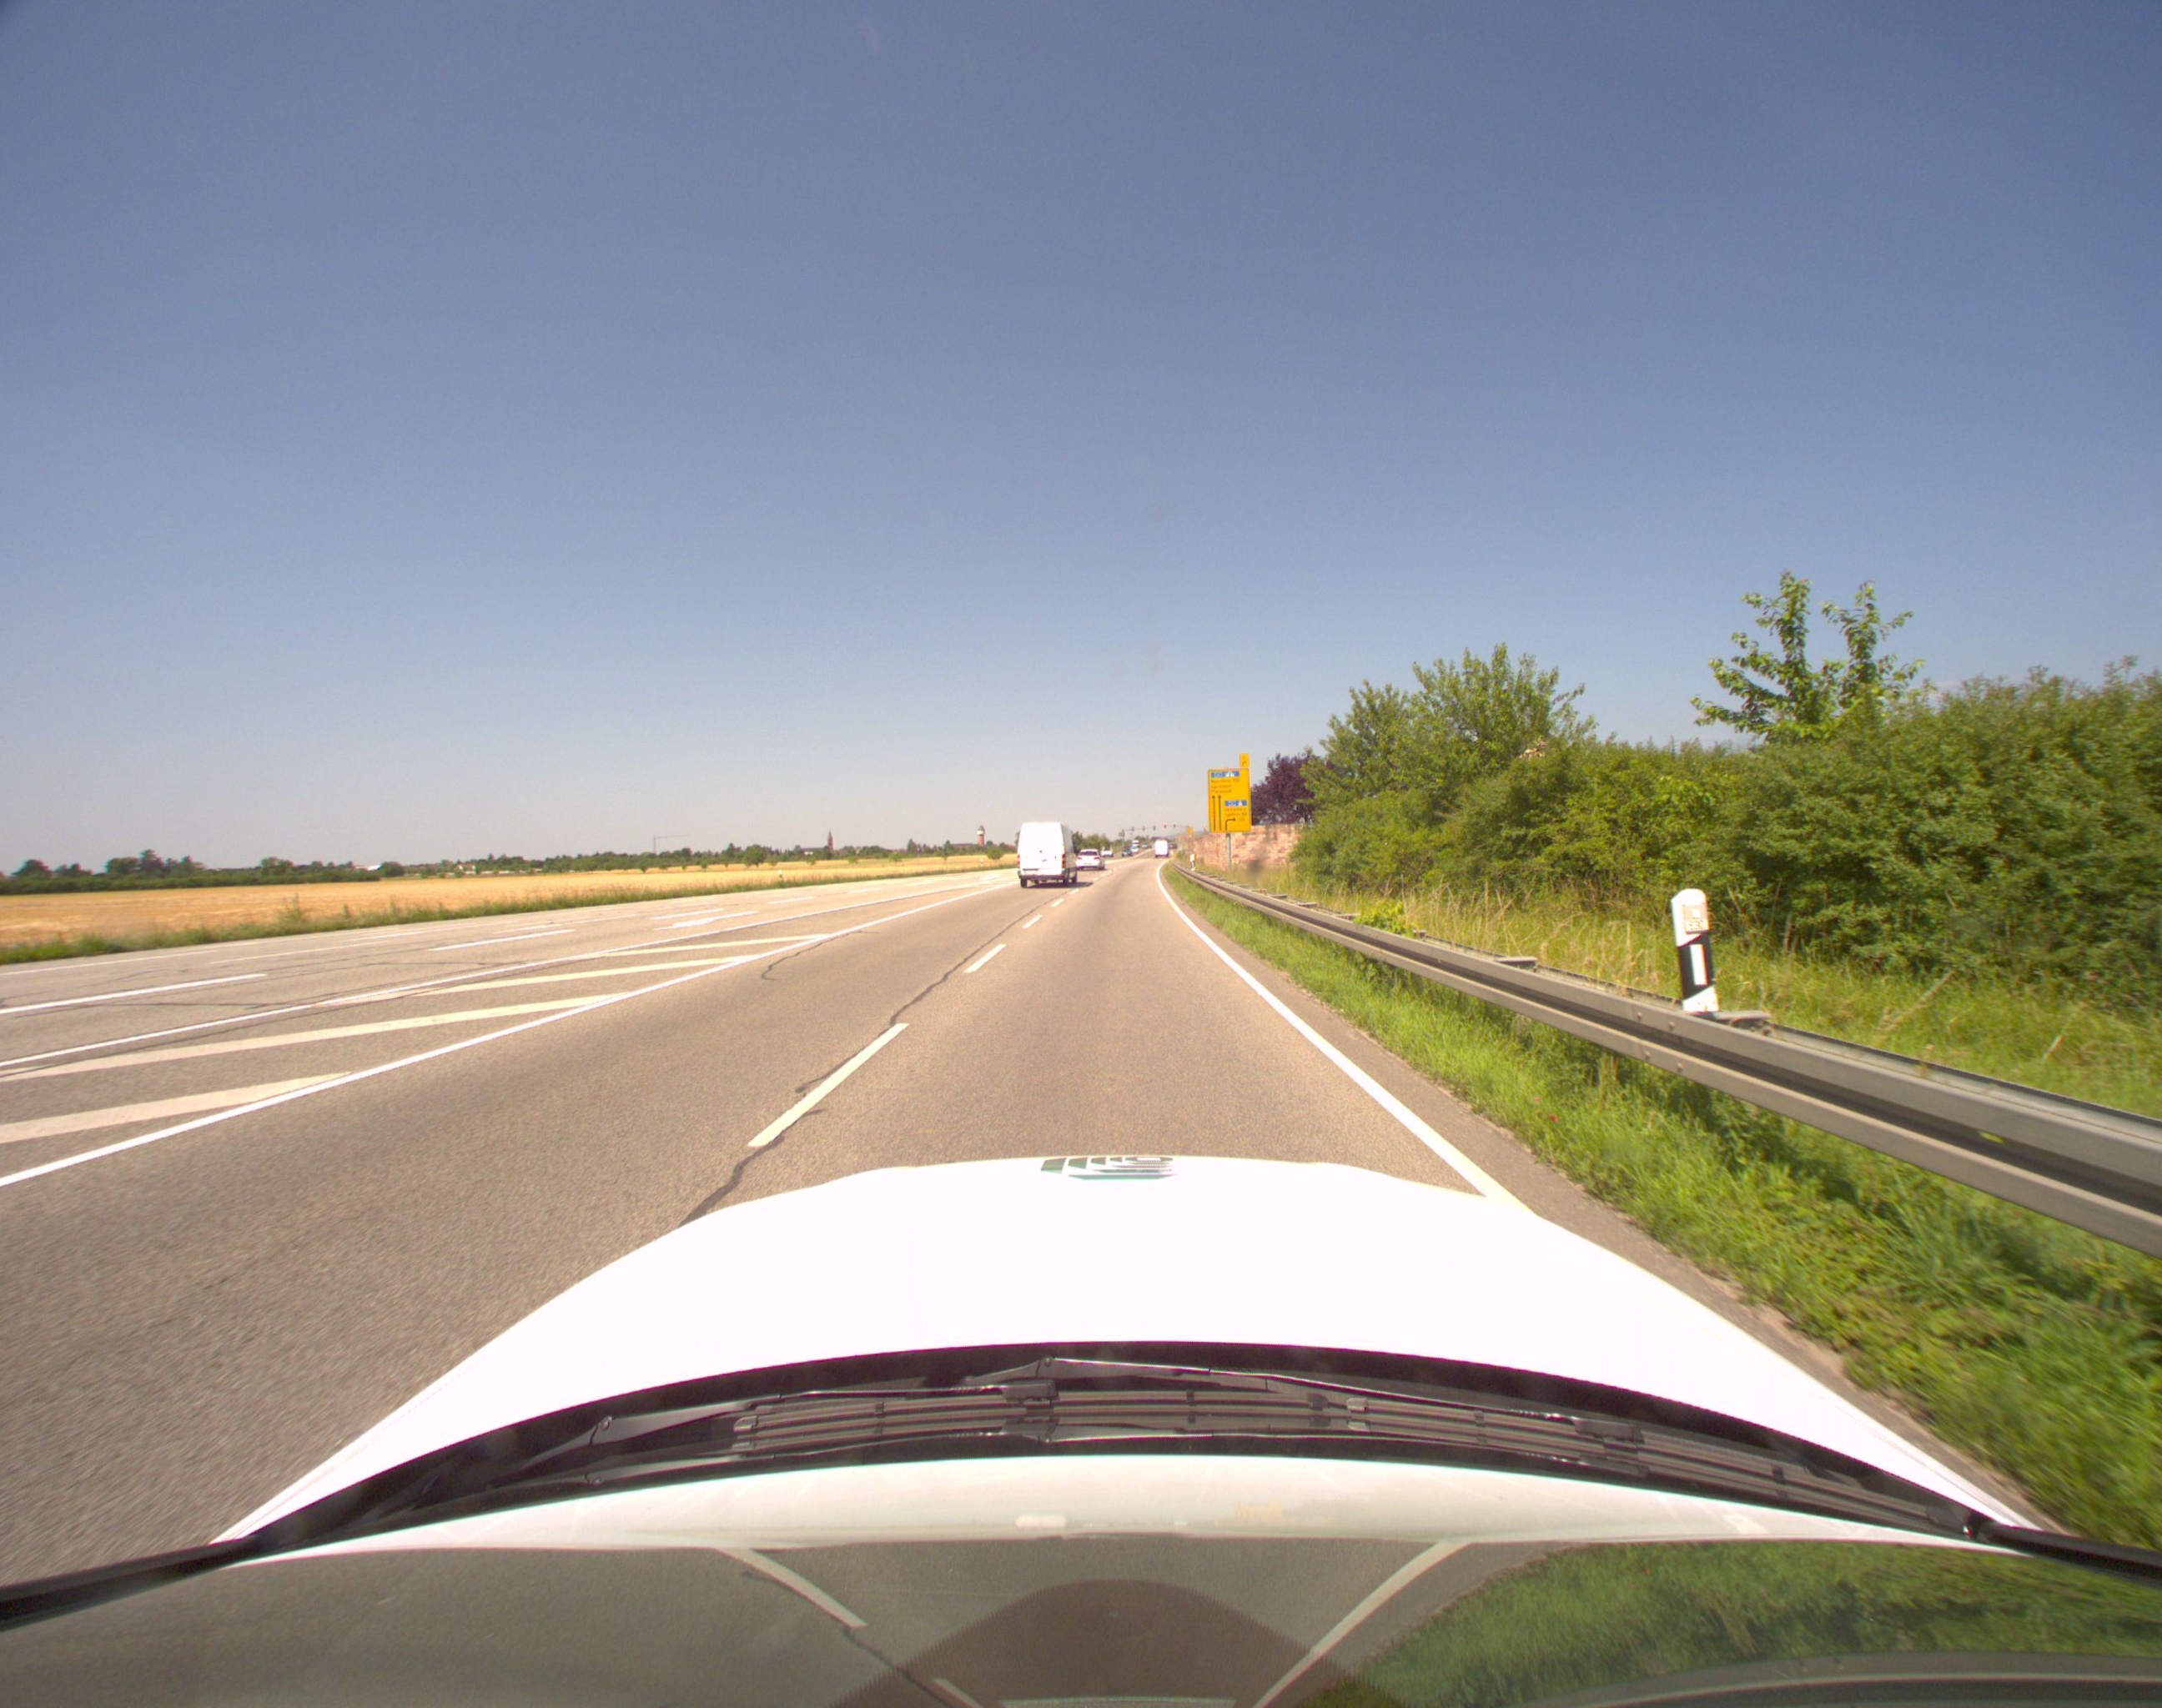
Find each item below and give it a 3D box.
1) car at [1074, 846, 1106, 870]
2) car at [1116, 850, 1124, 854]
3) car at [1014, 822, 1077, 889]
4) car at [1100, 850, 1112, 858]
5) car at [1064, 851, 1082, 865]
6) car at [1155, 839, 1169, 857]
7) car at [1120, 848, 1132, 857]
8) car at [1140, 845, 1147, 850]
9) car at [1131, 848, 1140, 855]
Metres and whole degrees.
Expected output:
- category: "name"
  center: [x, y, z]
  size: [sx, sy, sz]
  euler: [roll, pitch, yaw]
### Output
- category: "car"
  center: [0.672, 0.275, 57.492]
  size: [1.790, 1.508, 4.205]
  euler: [-2, 1, 7]
- category: "car"
  center: [10.215, -0.512, 212.061]
  size: [1.861, 1.255, 4.286]
  euler: [0, 0, 5]
- category: "car"
  center: [-1.412, 0.017, 34.845]
  size: [2.030, 2.620, 5.748]
  euler: [0, 0, 4]
- category: "car"
  center: [4.498, -0.002, 145.072]
  size: [1.740, 1.442, 4.090]
  euler: [-2, 0, 7]
- category: "car"
  center: [-1.034, 0.545, 104.592]
  size: [1.656, 1.676, 4.471]
  euler: [-2, 0, 7]
- category: "car"
  center: [12.323, -0.857, 123.188]
  size: [1.983, 2.695, 4.979]
  euler: [0, -1, 7]
- category: "car"
  center: [7.911, -0.295, 142.009]
  size: [1.740, 1.442, 4.090]
  euler: [-2, 0, 7]
- category: "car"
  center: [18.908, -1.859, 245.686]
  size: [1.846, 1.423, 4.010]
  euler: [-3, 0, 8]
- category: "car"
  center: [11.952, -0.520, 178.190]
  size: [1.740, 1.442, 4.089]
  euler: [-1, 0, 7]
